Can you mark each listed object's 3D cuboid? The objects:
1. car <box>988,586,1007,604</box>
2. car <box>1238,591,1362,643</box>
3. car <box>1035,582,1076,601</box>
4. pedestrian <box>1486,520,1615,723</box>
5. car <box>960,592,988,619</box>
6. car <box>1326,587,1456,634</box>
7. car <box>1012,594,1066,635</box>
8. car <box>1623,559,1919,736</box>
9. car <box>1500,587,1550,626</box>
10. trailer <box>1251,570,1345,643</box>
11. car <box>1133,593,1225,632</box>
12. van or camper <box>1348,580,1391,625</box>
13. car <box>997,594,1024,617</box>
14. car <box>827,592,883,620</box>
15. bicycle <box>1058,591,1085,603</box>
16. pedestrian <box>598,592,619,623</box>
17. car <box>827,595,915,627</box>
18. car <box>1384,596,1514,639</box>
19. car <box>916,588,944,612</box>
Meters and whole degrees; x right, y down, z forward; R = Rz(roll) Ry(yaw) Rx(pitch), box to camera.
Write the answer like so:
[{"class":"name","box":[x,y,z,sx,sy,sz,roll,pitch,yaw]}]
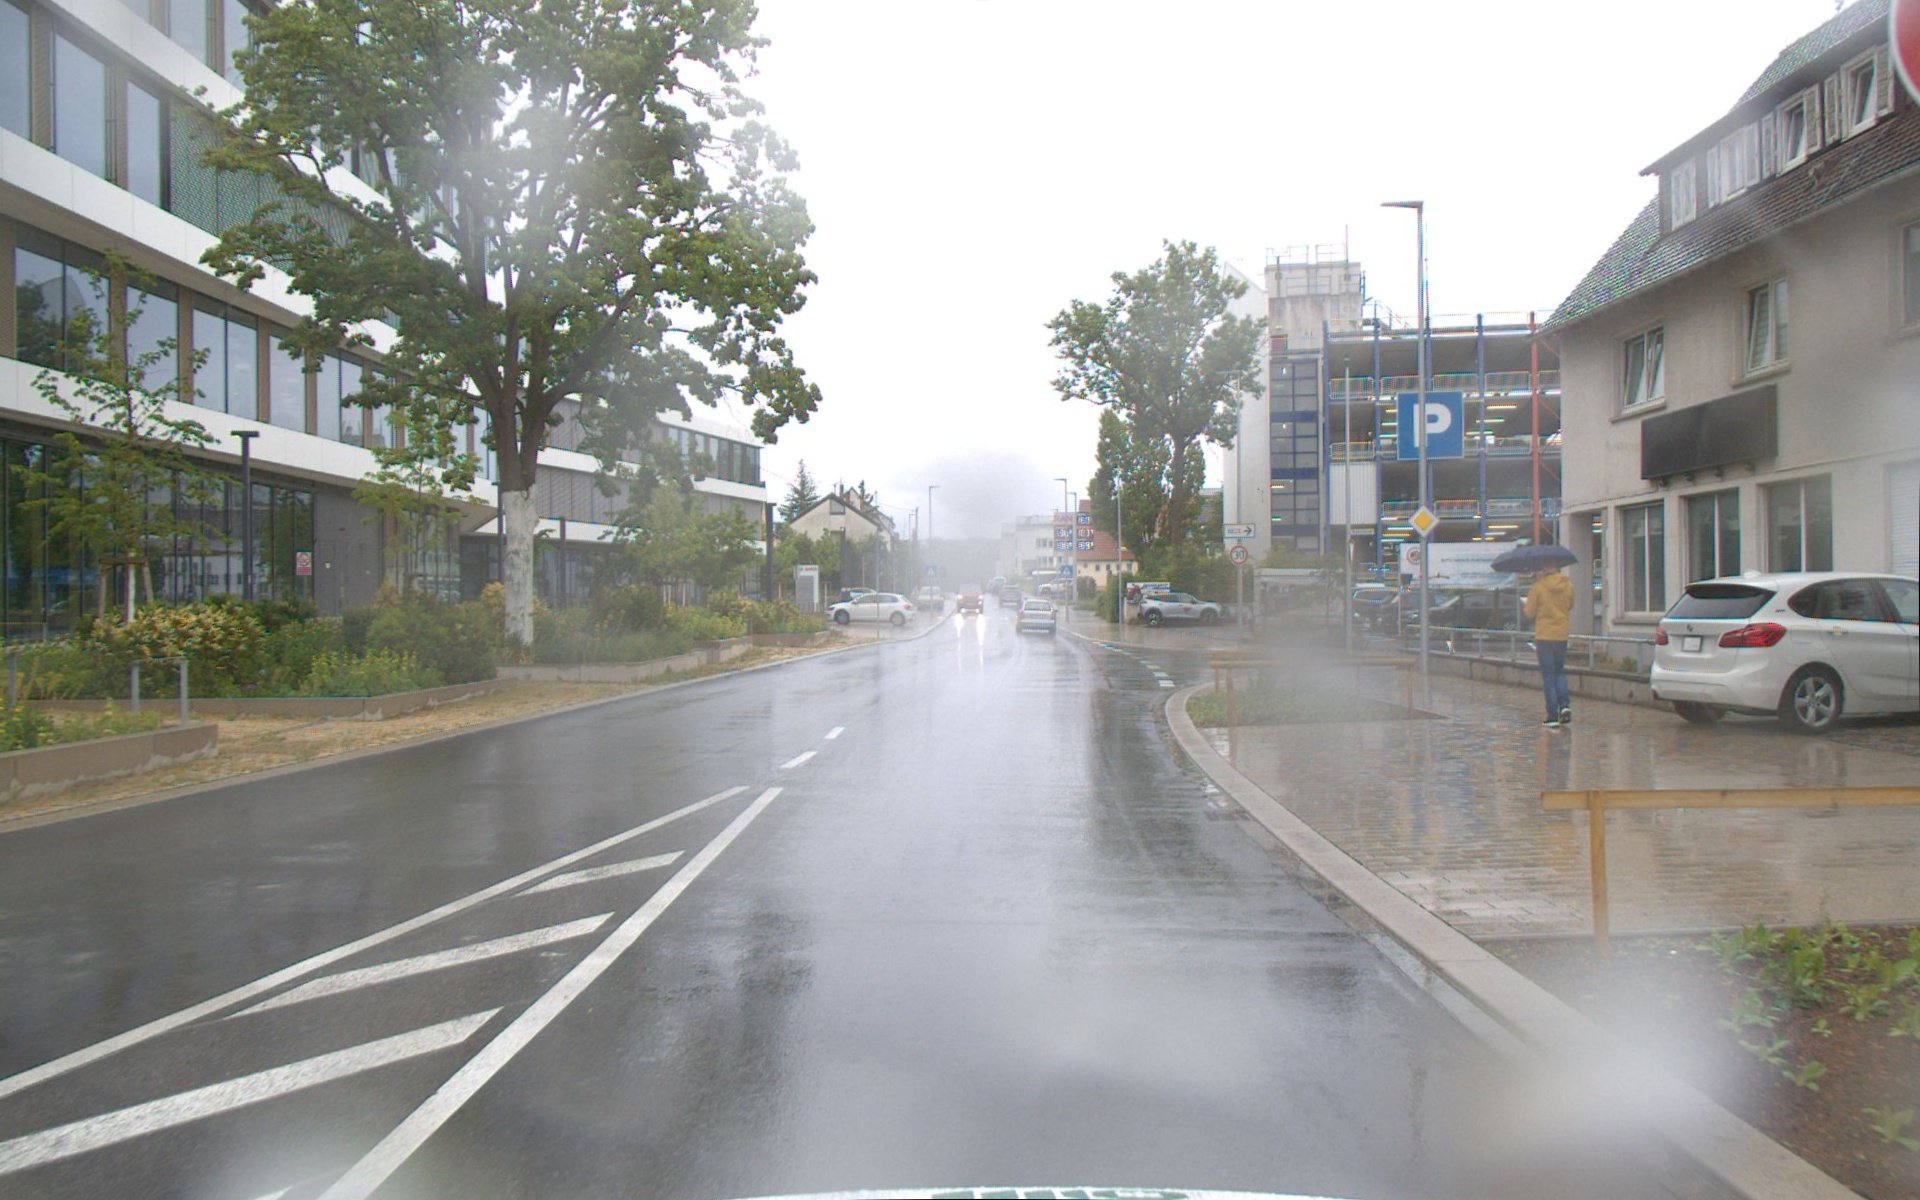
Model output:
[{"class":"car","box":[4.191,-0.563,185.330,1.953,1.736,4.000,3,-2,1]},{"class":"car","box":[11.024,0.550,53.775,3.649,1.556,1.650,-2,-1,1]},{"class":"car","box":[9.781,-0.868,169.470,4.030,1.736,1.787,4,-2,-2]},{"class":"pedestrian","box":[6.239,0.221,17.534,0.841,2.049,1.195,-2,0,-1]},{"class":"car","box":[0.962,0.404,117.693,1.962,1.849,4.979,0,0,0]},{"class":"car","box":[15.748,0.380,60.523,4.267,1.680,1.844,-1,0,-2]},{"class":"car","box":[3.369,0.665,71.302,1.909,1.583,3.998,3,-2,-2]},{"class":"car","box":[9.279,0.413,17.135,4.058,1.608,1.993,-2,0,-14]},{"class":"car","box":[25.861,0.271,75.789,1.693,1.708,4.004,-1,0,13]},{"class":"trailer","box":[10.450,0.193,51.192,2.645,2.209,1.549,0,0,3]},{"class":"car","box":[10.278,0.575,77.568,4.117,1.678,2.002,-2,-1,11]},{"class":"van or camper","box":[19.201,0.112,77.644,1.798,2.072,4.465,0,0,12]},{"class":"car","box":[4.292,0.444,139.934,2.110,1.736,4.000,3,-2,1]},{"class":"car","box":[-9.062,0.528,142.151,4.662,2.049,1.997,4,-2,-6]},{"class":"bicycle","box":[10.965,-0.291,162.955,0.661,1.085,3.592,4,-2,-30]},{"class":"pedestrian","box":[-19.584,0.408,92.240,0.993,1.754,0.772,0,0,-2]},{"class":"car","box":[-3.996,0.500,74.919,3.846,1.448,1.898,0,0,1]},{"class":"car","box":[15.707,0.550,53.205,3.651,1.338,1.692,0,0,-3]},{"class":"car","box":[-2.155,-0.018,119.936,1.952,1.657,4.153,-1,0,1]}]
